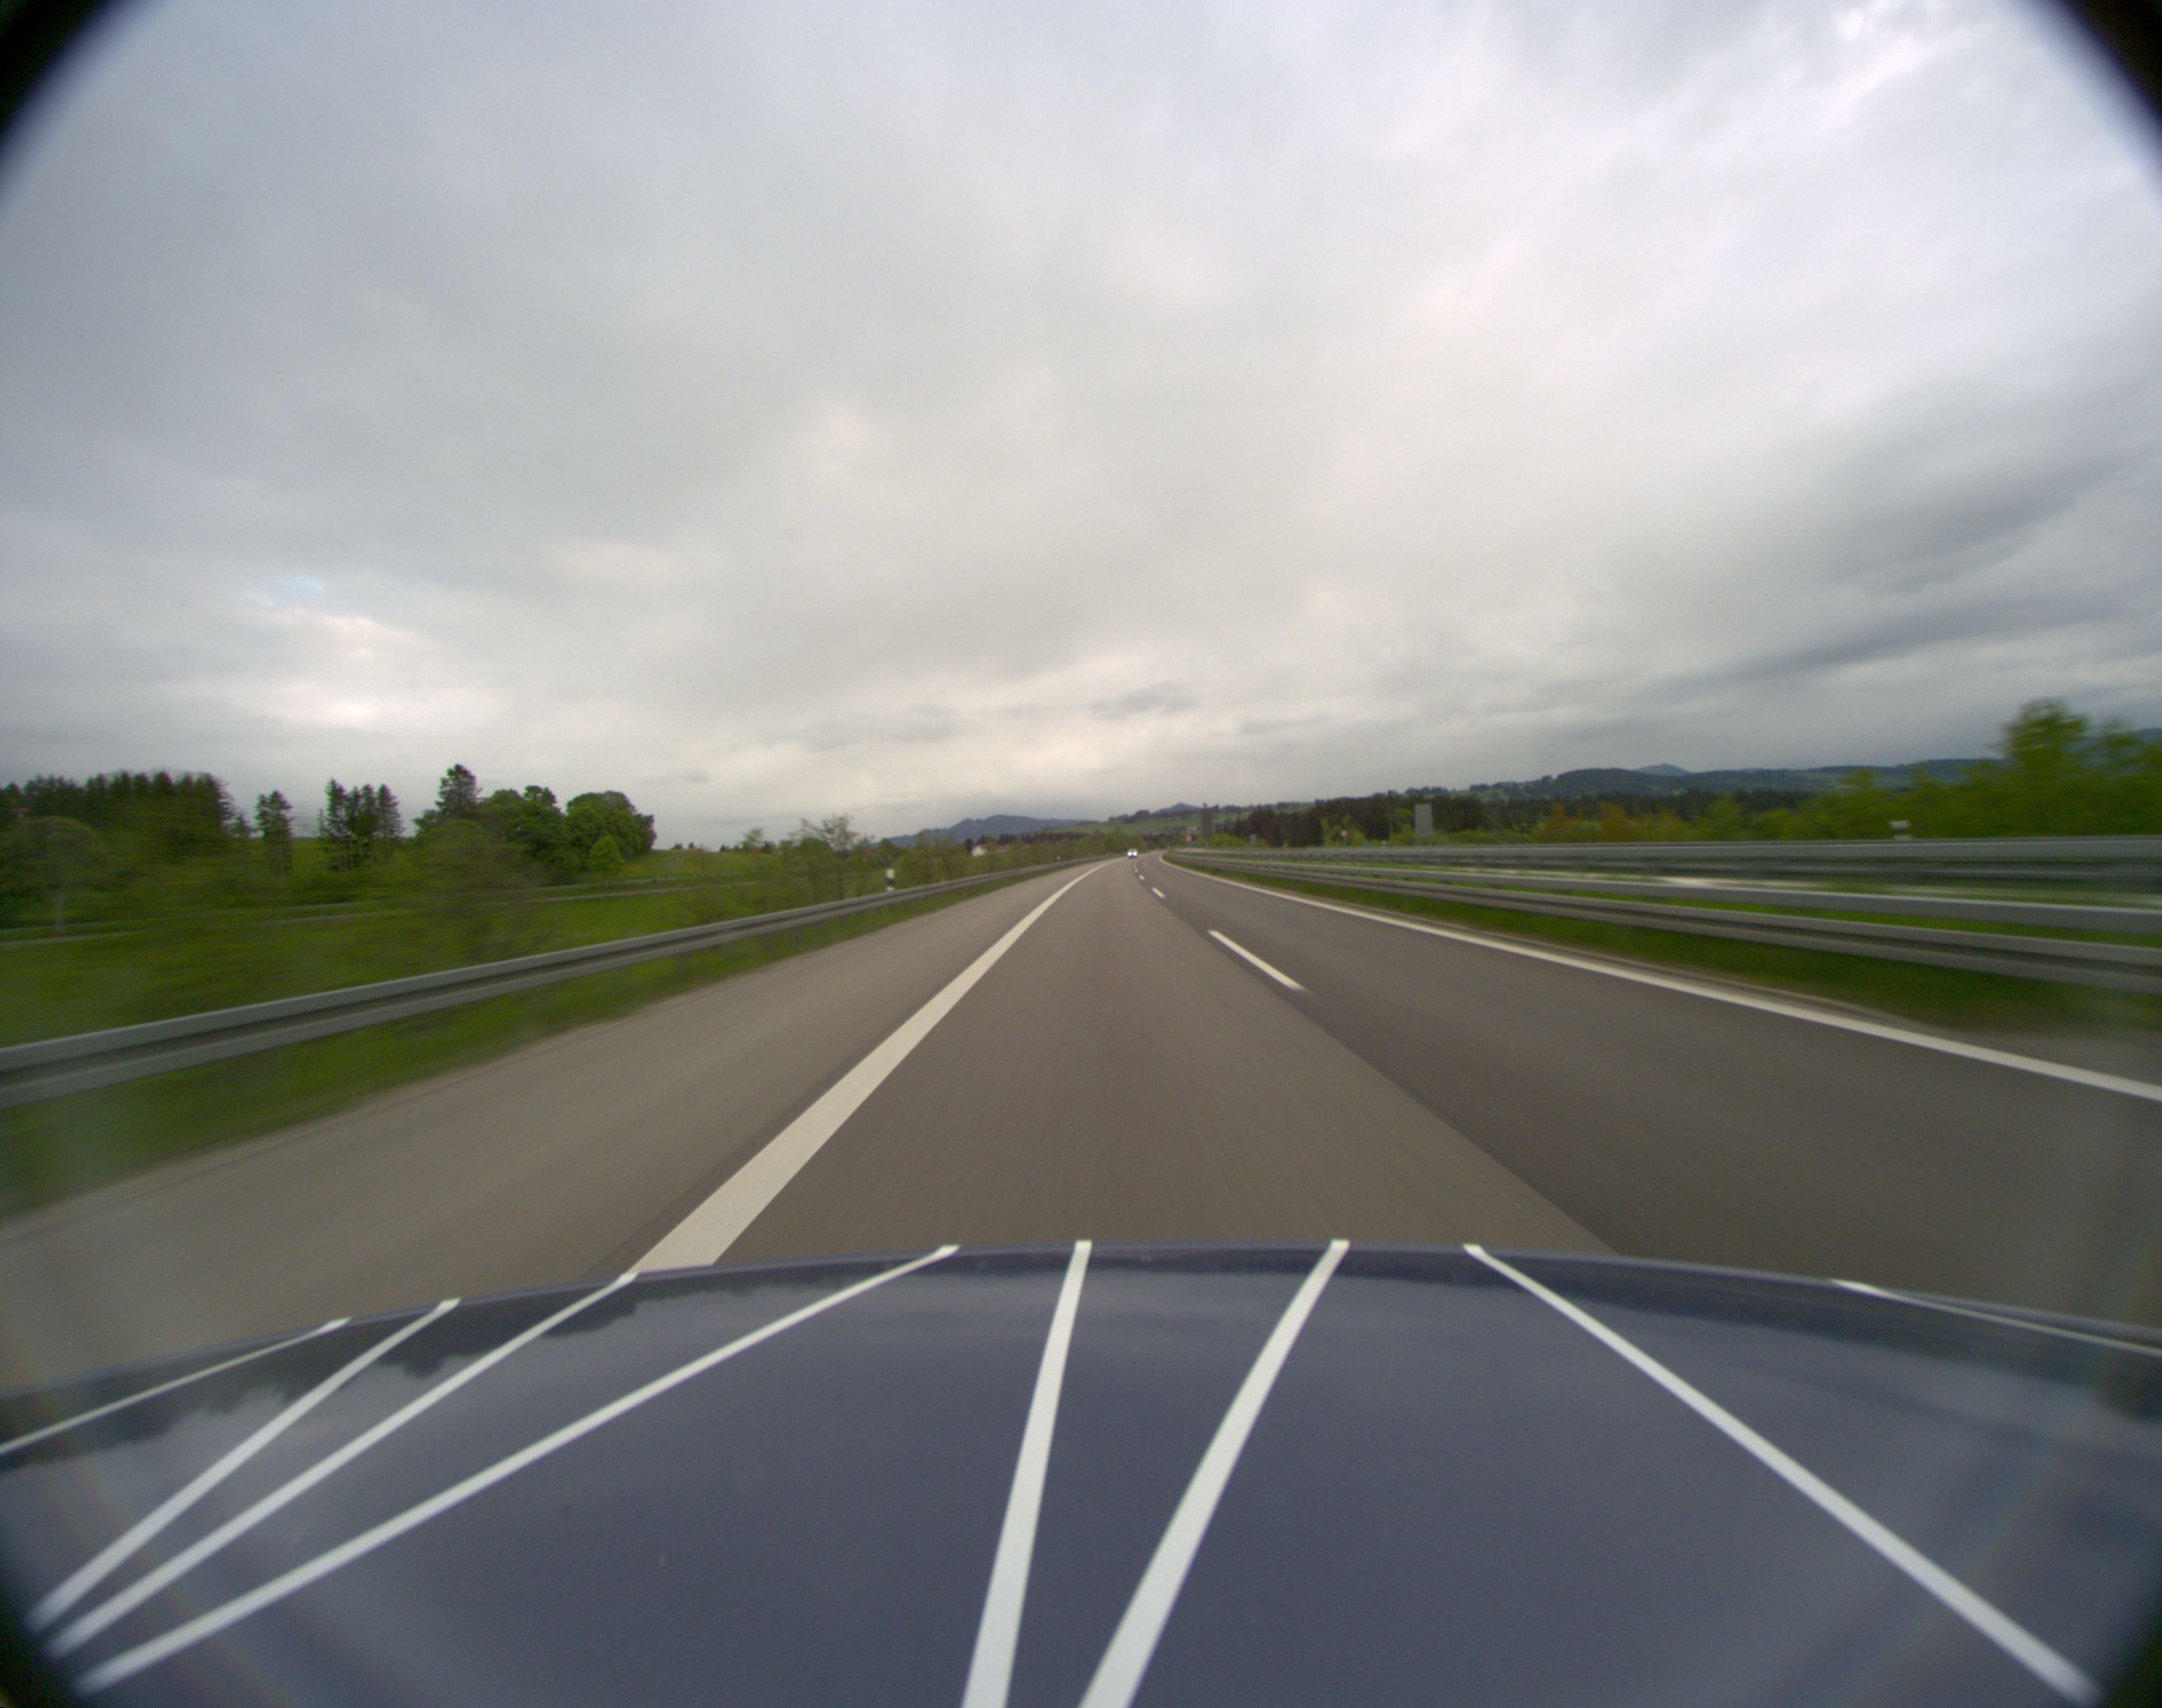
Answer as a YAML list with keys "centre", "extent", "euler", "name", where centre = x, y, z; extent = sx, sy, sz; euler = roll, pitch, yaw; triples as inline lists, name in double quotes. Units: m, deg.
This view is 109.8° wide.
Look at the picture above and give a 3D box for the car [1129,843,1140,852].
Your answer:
- centre: [11.313, -1.373, 161.429]
  extent: [2.020, 1.899, 4.222]
  euler: [-2, 0, 7]
  name: "car"
